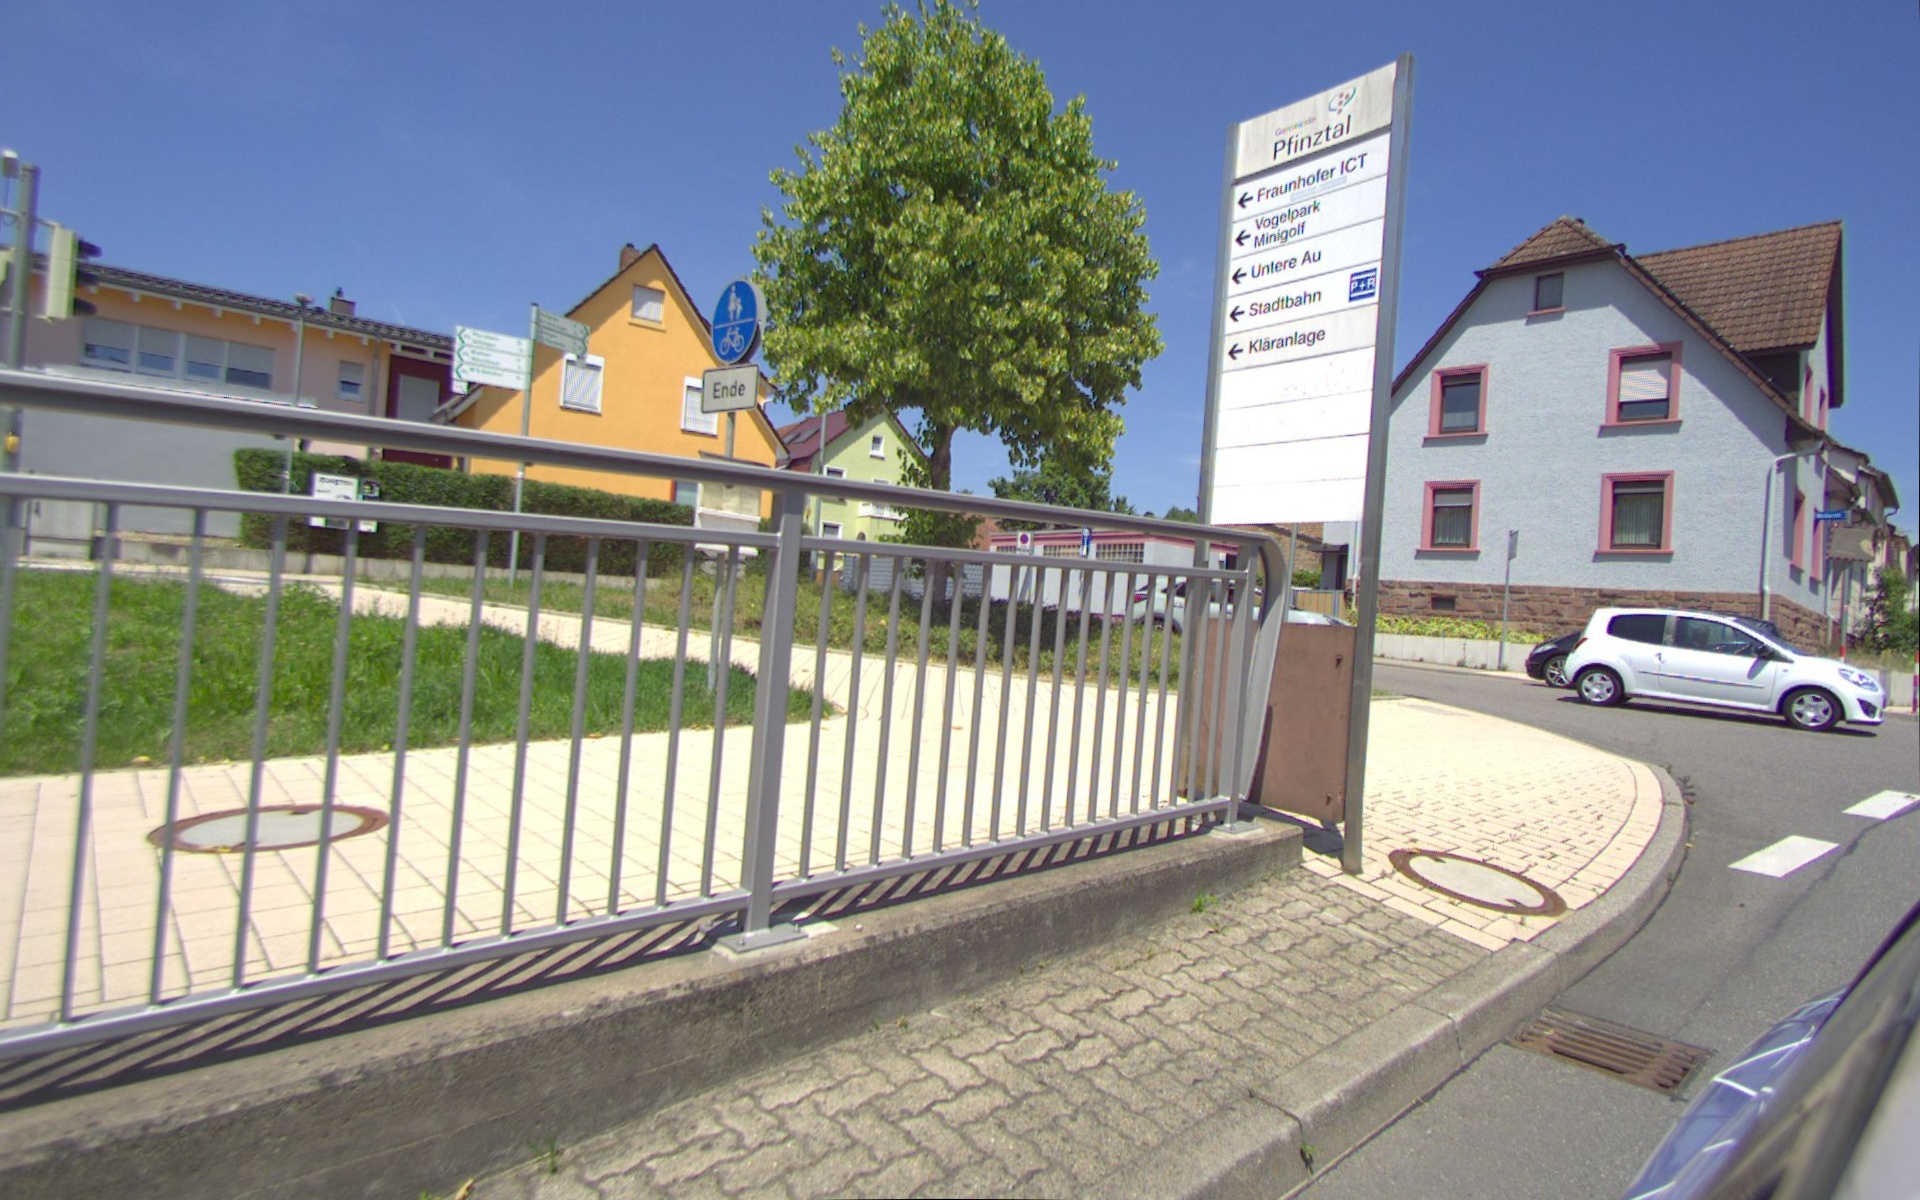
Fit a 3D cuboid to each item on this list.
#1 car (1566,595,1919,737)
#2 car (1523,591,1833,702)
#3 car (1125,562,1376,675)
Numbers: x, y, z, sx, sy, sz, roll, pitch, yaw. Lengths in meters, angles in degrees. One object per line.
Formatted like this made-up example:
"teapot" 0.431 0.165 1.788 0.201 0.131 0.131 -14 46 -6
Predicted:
"car" 10.771 0.813 14.106 3.670 1.497 1.748 5 1 43
"car" 12.290 0.745 17.479 4.142 1.609 1.840 2 -2 43
"car" 5.232 0.276 18.249 4.083 1.554 1.761 6 2 24
